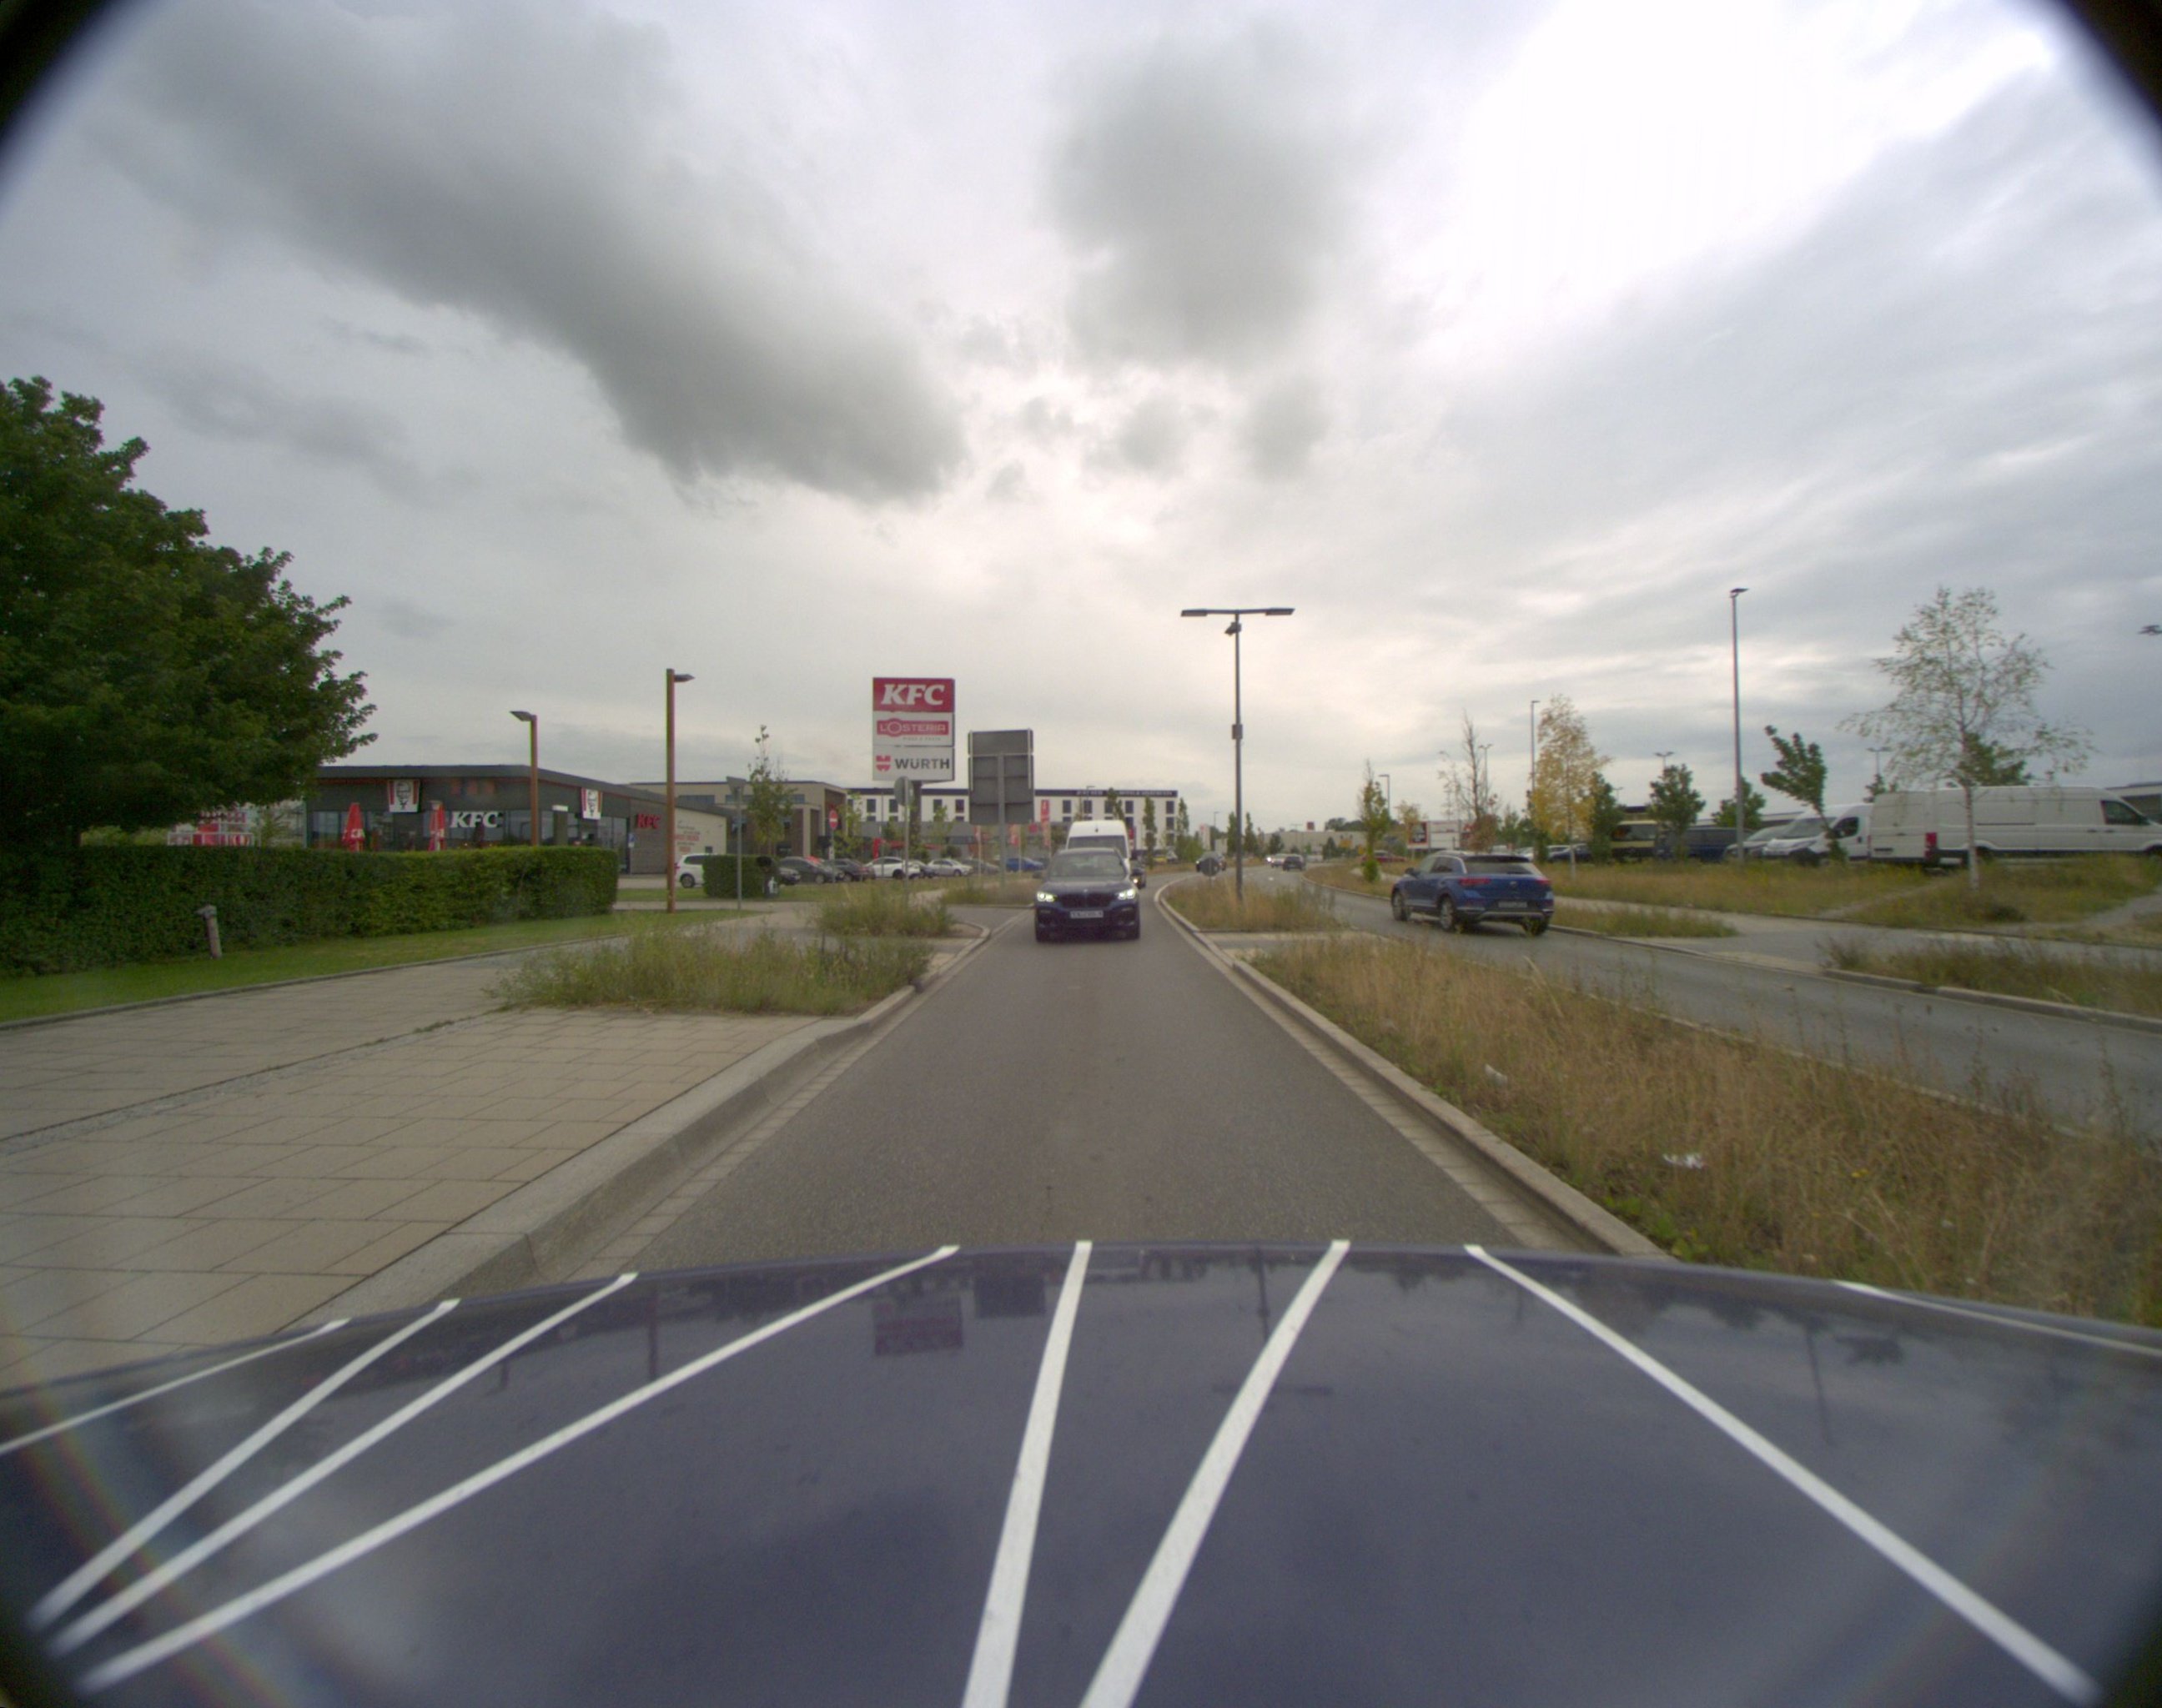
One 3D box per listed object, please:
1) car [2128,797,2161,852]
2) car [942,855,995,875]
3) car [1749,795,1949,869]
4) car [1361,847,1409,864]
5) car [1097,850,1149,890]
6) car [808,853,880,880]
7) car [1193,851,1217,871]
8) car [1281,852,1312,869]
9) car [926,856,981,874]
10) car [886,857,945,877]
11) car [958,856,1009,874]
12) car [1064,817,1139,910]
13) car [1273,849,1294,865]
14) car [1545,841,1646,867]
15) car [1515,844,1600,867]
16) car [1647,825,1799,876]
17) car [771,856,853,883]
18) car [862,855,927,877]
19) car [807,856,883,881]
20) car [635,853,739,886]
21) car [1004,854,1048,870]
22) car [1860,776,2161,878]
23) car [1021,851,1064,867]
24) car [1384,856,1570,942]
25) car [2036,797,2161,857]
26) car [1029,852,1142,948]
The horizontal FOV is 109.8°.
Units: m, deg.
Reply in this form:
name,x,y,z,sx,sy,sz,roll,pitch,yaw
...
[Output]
name,x,y,z,sx,sy,sz,roll,pitch,yaw
car,47.146,-1.271,30.947,2.063,2.359,5.057,-2,1,1
car,-9.589,0.917,64.926,3.993,1.477,1.849,-2,1,14
car,27.648,-0.773,27.503,5.053,2.359,2.064,-2,1,1
car,29.630,0.121,74.124,3.995,1.455,1.737,-2,1,7
car,2.001,0.727,35.297,1.997,1.660,4.003,-2,-1,8
car,-15.404,0.795,49.446,3.994,1.602,1.848,-2,1,9
car,11.081,0.635,67.895,1.860,1.660,4.004,-2,-1,12
car,19.382,0.544,68.133,1.730,1.484,4.008,-1,0,30
car,-10.518,0.899,62.742,3.993,1.477,1.849,-1,0,14
car,-12.655,0.962,58.119,3.994,1.477,1.848,-1,0,9
car,-8.618,0.954,67.194,3.993,1.477,1.849,-1,0,14
car,0.595,0.273,23.848,2.026,2.513,6.105,-1,0,0
car,22.127,0.332,82.983,1.996,1.660,4.005,-3,-1,16
car,33.660,0.001,49.840,5.049,1.646,2.066,-1,0,11
car,35.794,0.112,57.233,5.049,1.646,2.066,-1,0,11
car,29.504,-0.144,35.072,5.050,2.210,2.066,-1,0,8
car,-15.340,0.880,43.421,3.994,1.477,1.848,-1,0,9
car,-12.994,0.835,53.070,3.994,1.513,1.848,-1,0,9
car,-14.320,0.893,46.241,3.994,1.477,1.848,-1,0,9
car,-18.700,0.718,36.176,3.996,1.519,1.847,-1,0,2
car,-5.523,0.782,76.410,3.992,1.477,1.849,-2,1,18
car,27.508,-0.766,22.469,6.412,2.609,2.065,-2,1,5
car,-3.951,0.510,78.559,3.992,1.477,1.849,-2,1,18
car,7.766,0.797,15.360,1.733,1.504,4.000,-1,0,1
car,43.745,-1.134,31.468,2.063,2.359,5.057,-2,1,1
car,0.092,0.780,14.765,1.867,1.598,4.000,-1,0,0
